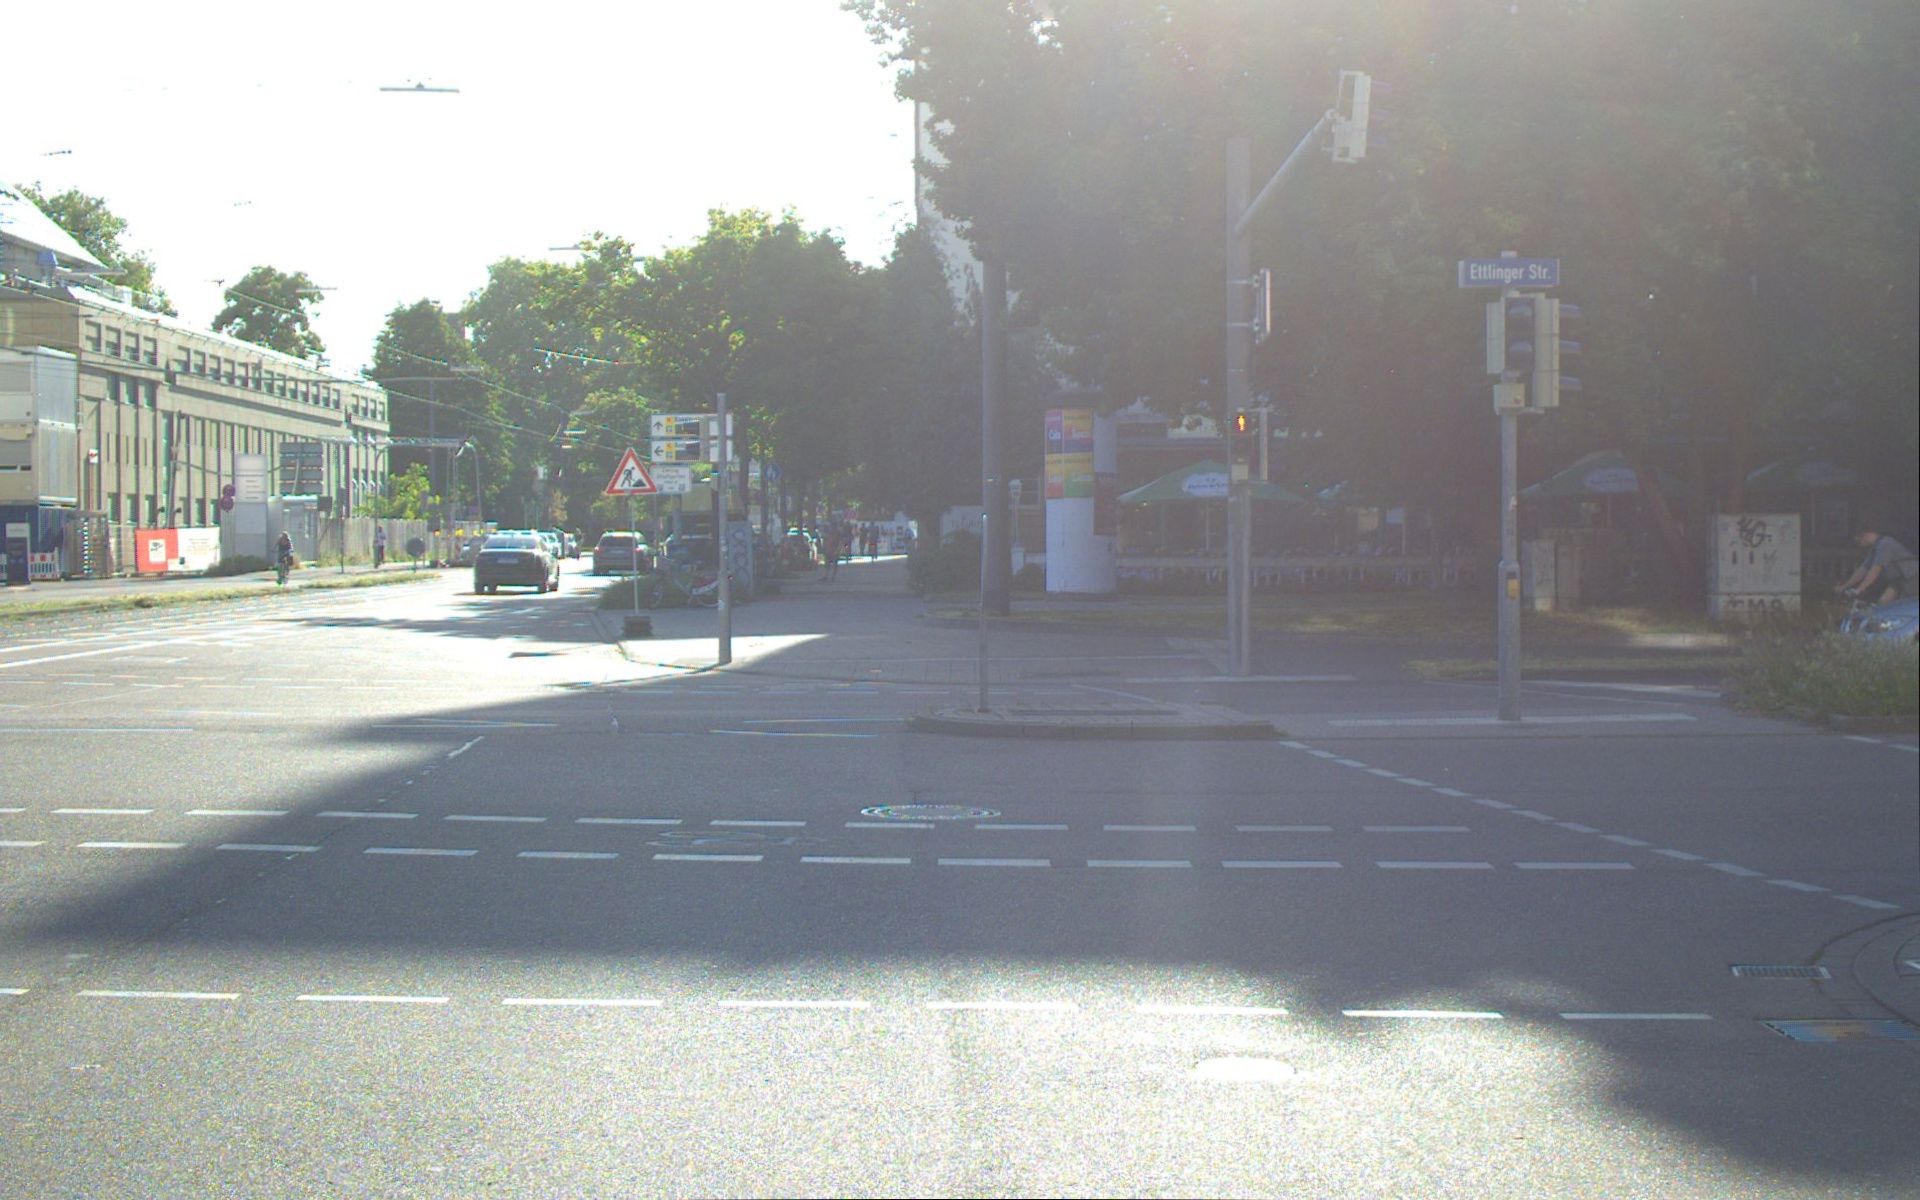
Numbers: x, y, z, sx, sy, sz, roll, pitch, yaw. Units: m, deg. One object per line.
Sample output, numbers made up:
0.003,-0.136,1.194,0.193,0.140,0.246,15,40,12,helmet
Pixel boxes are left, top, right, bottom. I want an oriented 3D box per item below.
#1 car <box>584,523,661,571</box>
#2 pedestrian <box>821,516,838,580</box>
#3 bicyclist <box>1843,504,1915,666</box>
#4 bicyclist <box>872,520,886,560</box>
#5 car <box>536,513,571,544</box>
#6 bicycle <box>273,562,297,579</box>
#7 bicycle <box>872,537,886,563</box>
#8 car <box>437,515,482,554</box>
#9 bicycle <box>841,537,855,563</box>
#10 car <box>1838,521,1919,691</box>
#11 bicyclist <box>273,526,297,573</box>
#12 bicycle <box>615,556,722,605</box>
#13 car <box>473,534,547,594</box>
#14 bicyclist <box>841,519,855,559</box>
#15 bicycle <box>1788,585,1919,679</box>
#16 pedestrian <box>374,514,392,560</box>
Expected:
-11.779,-1.865,120.193,1.892,1.560,4.807,3,1,3,car
-3.715,-1.477,97.727,0.463,1.807,0.503,0,1,-5,pedestrian
9.626,-0.162,36.024,0.643,1.677,0.507,0,1,5,bicyclist
-3.414,-2.527,145.399,0.569,1.685,0.700,0,1,-1,bicyclist
-23.005,-4.041,194.693,1.692,1.712,4.248,1,1,-4,car
-20.005,-0.873,101.923,0.501,0.513,1.258,1,1,-1,bicycle
-3.408,-2.108,145.347,0.575,1.073,1.831,0,1,-1,bicycle
-22.768,-2.974,156.447,1.692,1.712,4.248,1,1,-4,car
-4.730,-2.125,145.230,0.575,1.073,1.831,0,1,-1,bicycle
10.753,0.025,33.412,3.993,1.605,1.650,-1,1,-1,car
-19.999,-1.488,101.907,0.596,1.372,0.638,1,0,-2,bicyclist
-5.729,-0.384,67.482,2.018,0.888,0.650,-2,0,27,bicycle
-11.314,-0.915,86.562,1.660,1.450,4.433,0,1,-5,car
-4.740,-2.591,145.281,0.569,1.685,0.700,0,1,-1,bicyclist
9.570,0.330,36.040,1.667,0.960,0.533,0,1,5,bicycle
-25.502,-2.768,151.931,0.674,2.007,0.751,1,0,-3,pedestrian
